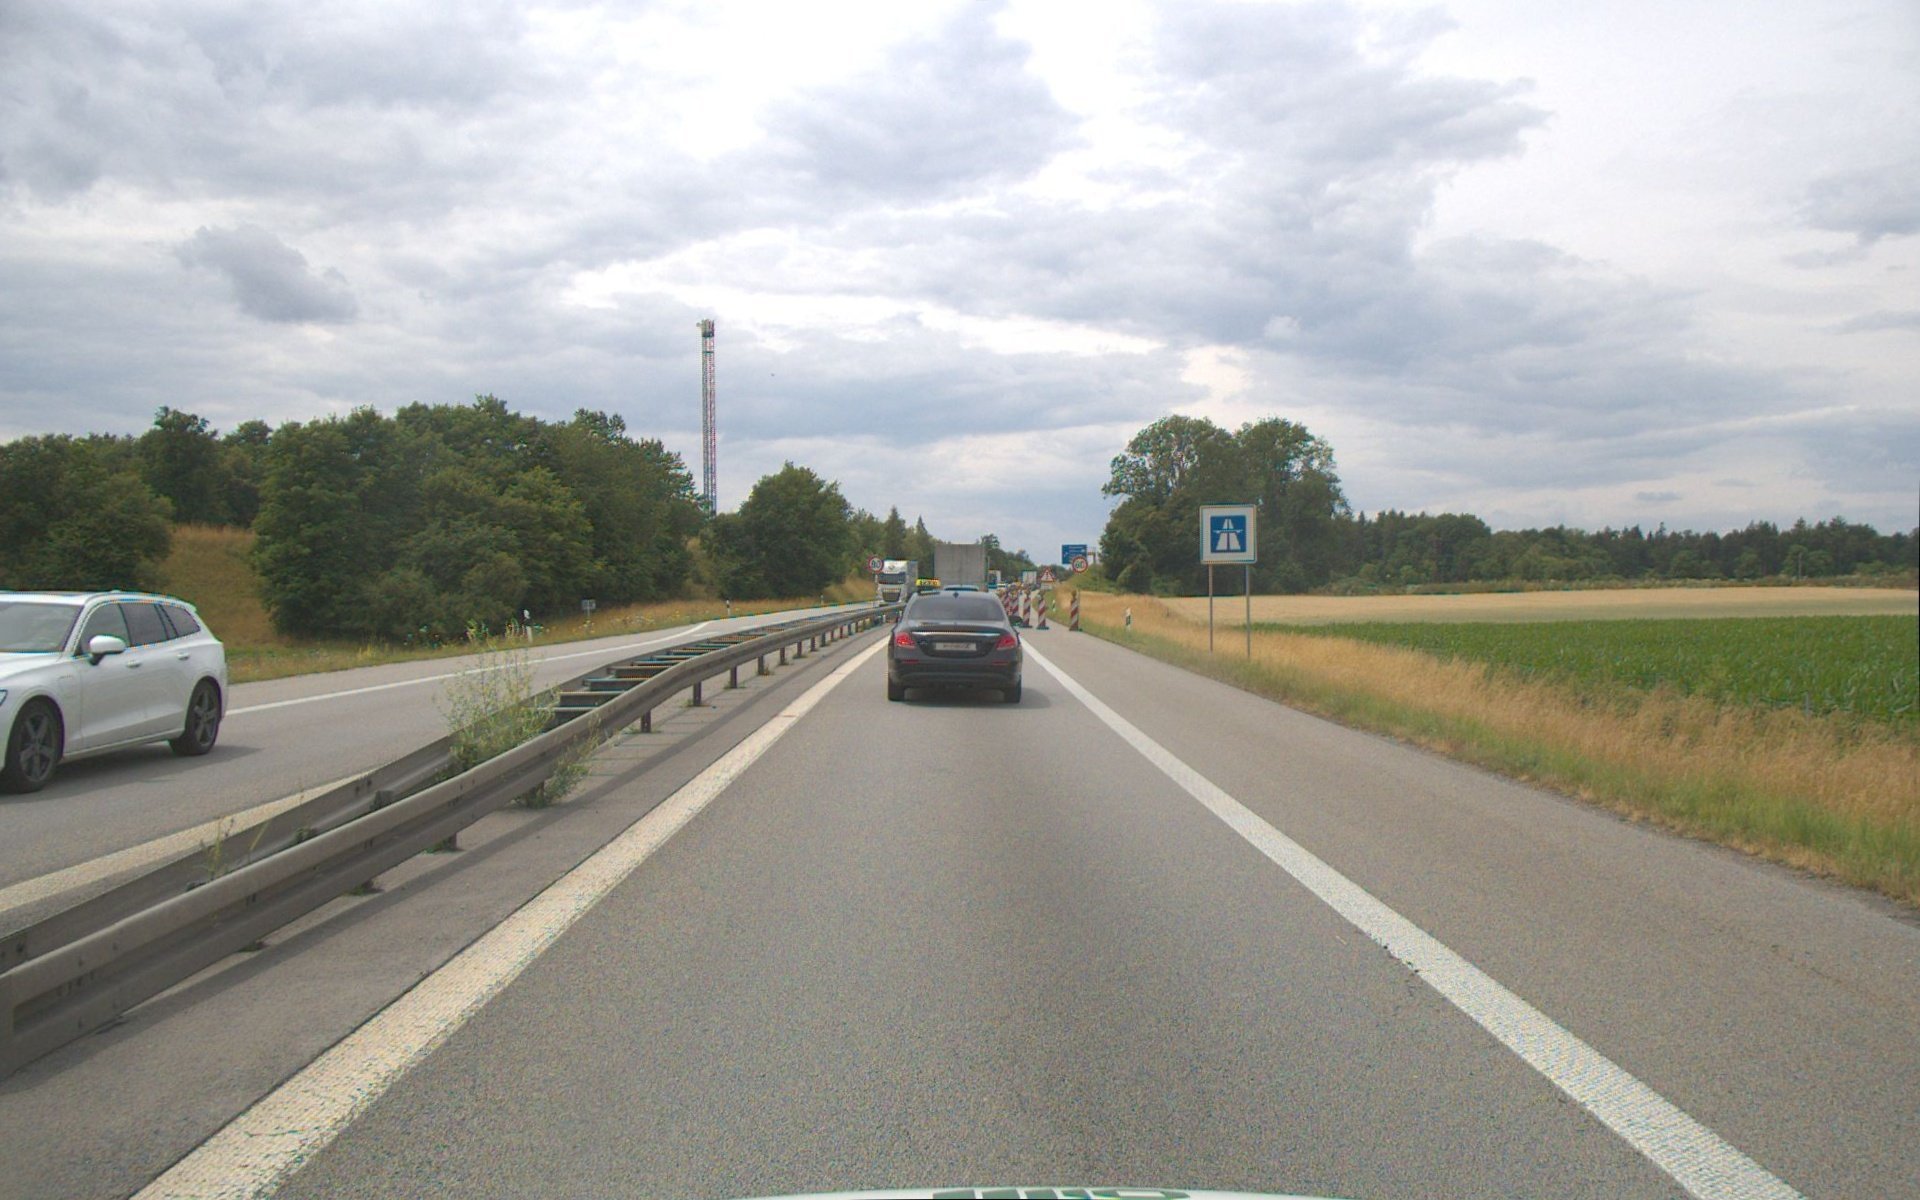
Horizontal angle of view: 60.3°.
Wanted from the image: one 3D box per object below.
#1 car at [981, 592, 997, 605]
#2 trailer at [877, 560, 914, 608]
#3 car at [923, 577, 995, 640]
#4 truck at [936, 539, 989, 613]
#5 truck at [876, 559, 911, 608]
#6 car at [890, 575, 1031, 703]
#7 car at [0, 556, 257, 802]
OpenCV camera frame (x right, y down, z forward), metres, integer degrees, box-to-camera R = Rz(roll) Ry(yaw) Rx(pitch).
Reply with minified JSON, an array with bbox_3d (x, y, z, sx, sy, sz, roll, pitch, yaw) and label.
[{"bbox_3d":[3.506,-0.177,197.971,1.616,1.420,3.703,1,0,-3],"label":"car"},{"bbox_3d":[-5.959,-1.407,154.077,2.741,4.246,13.563,1,0,0],"label":"trailer"},{"bbox_3d":[-0.084,0.280,56.978,1.956,2.049,3.993,1,0,-8],"label":"car"},{"bbox_3d":[0.117,-1.169,83.856,2.534,3.586,4.812,1,0,0],"label":"truck"},{"bbox_3d":[-5.958,-1.450,148.736,2.741,4.214,7.228,1,0,0],"label":"truck"},{"bbox_3d":[-0.016,0.502,22.926,1.759,1.587,3.999,1,0,-1],"label":"car"},{"bbox_3d":[-7.405,0.523,13.042,1.780,1.661,4.601,1,0,-1],"label":"car"}]
